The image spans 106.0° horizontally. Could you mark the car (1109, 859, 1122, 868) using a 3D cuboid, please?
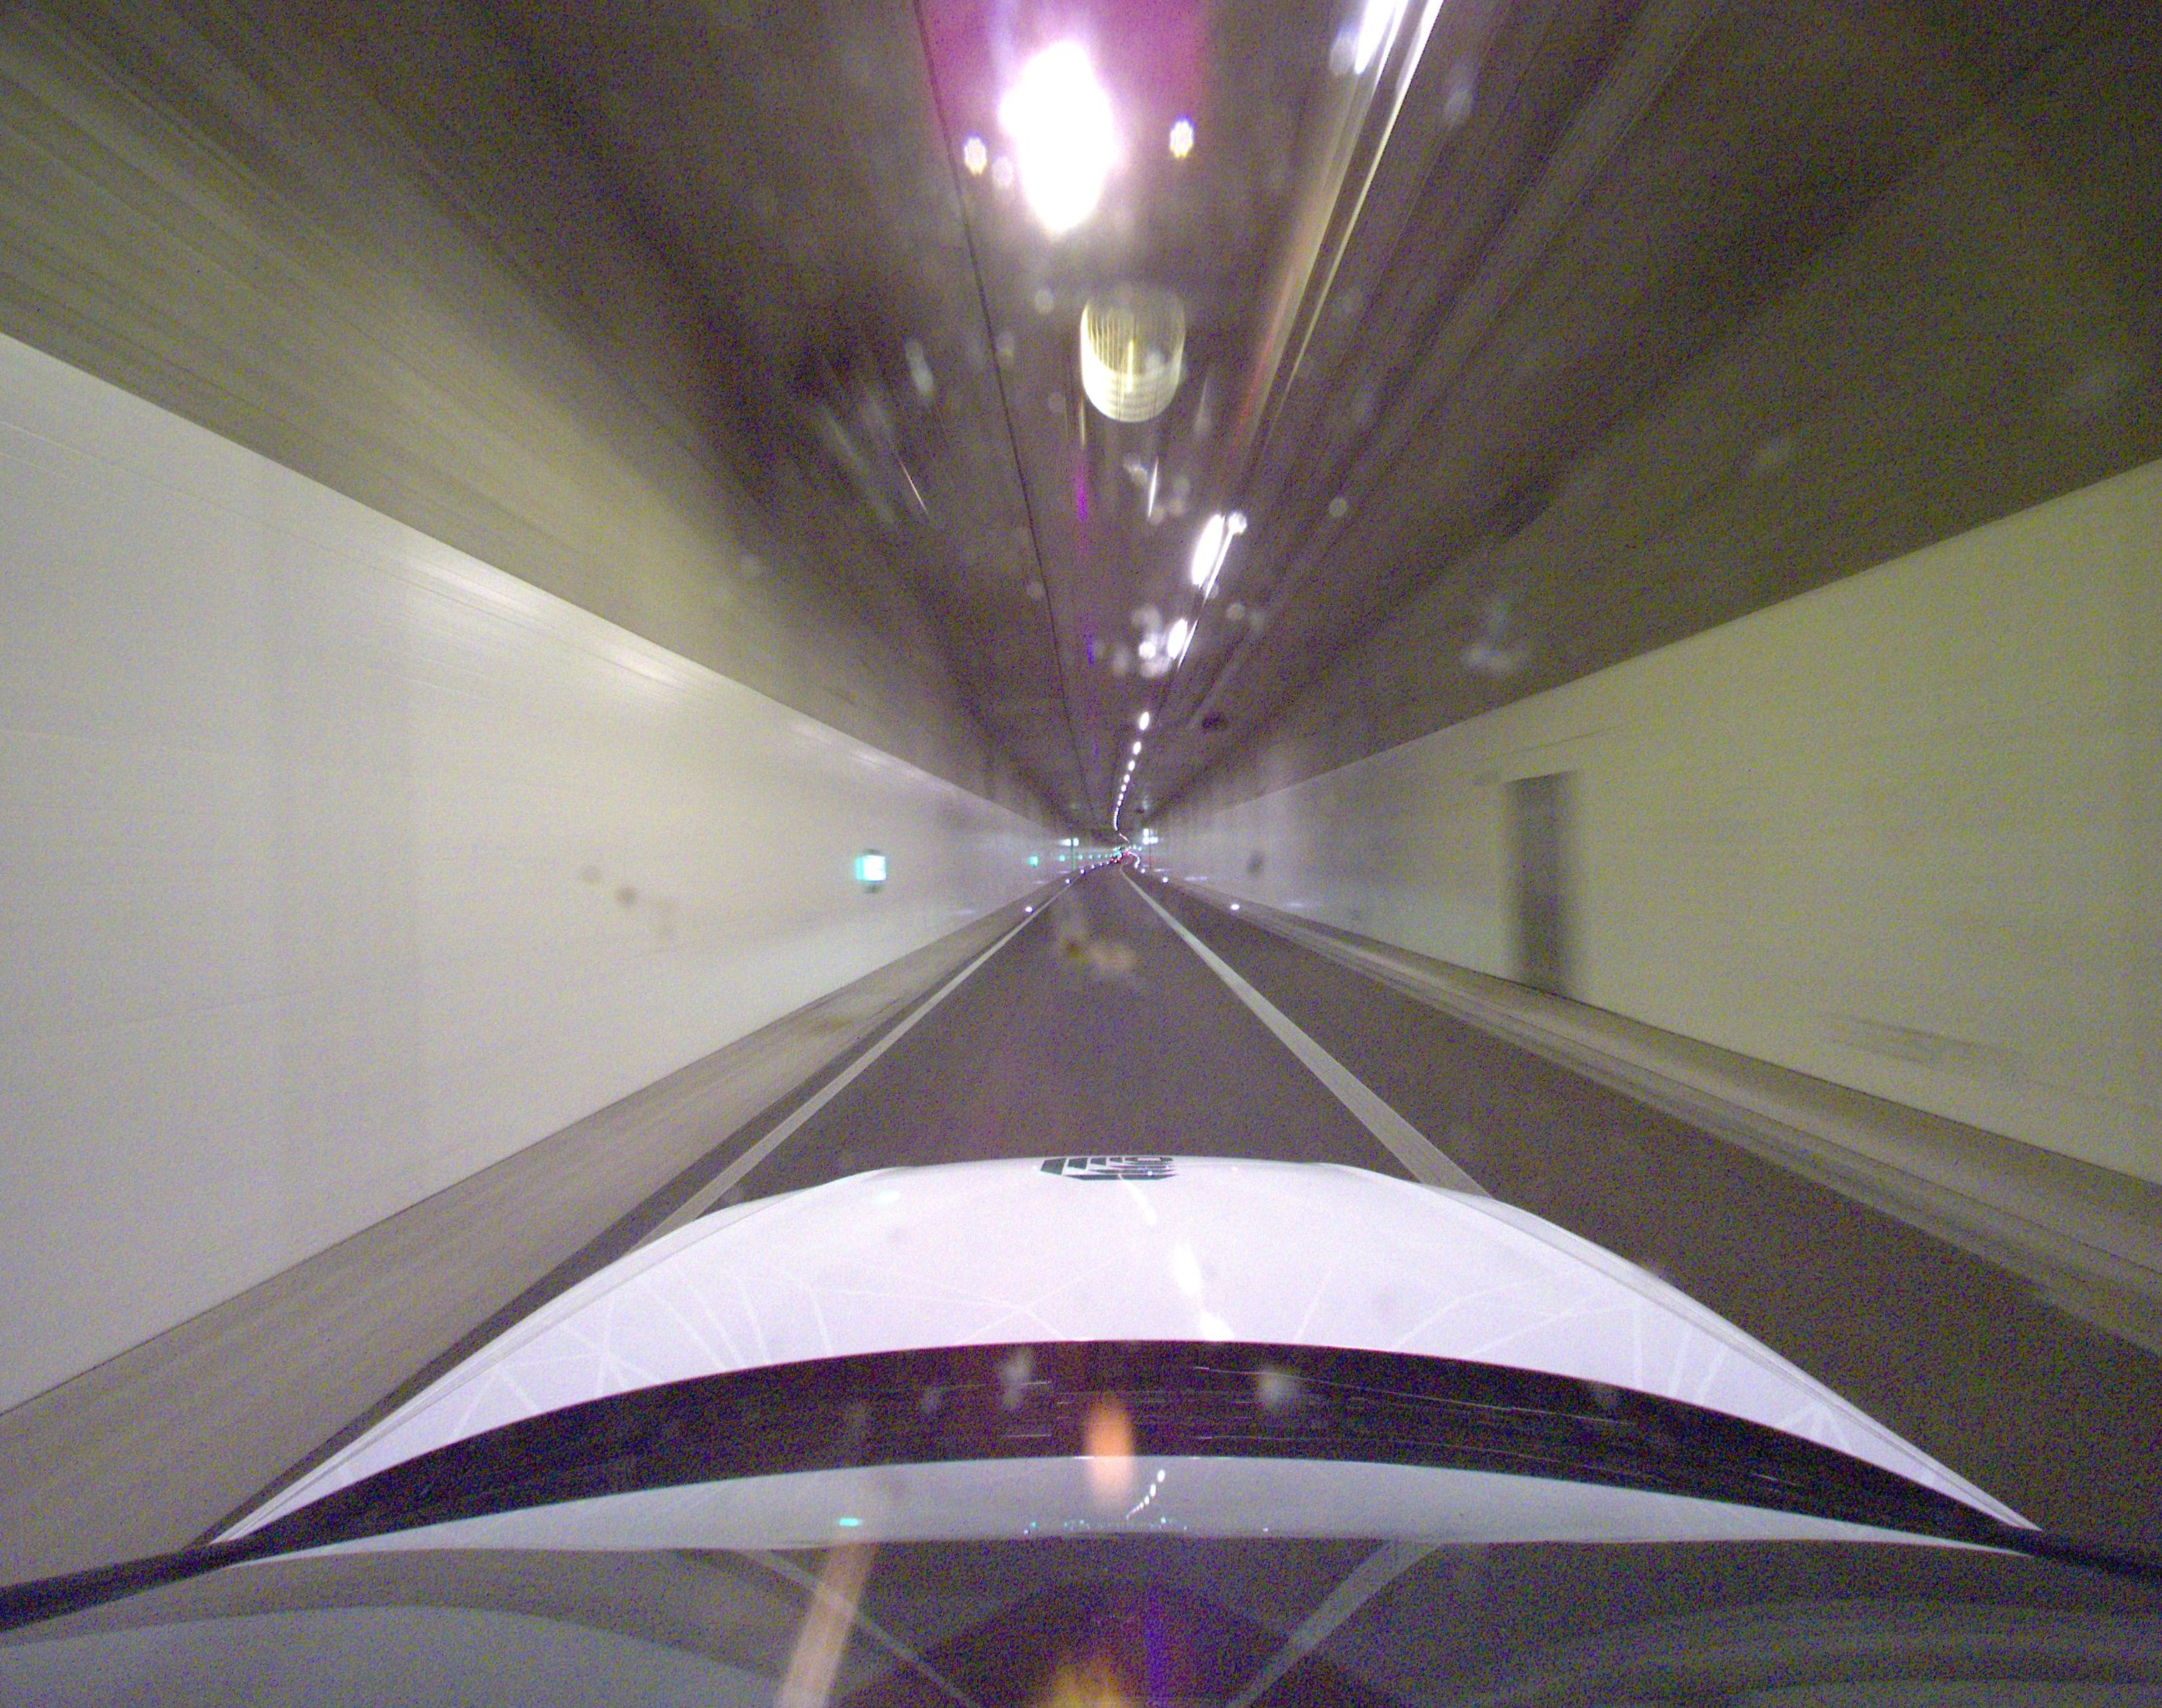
[{"bbox_3d":[5.792,1.543,137.111,1.986,1.420,4.002,1,0,2],"label":"car"}]
